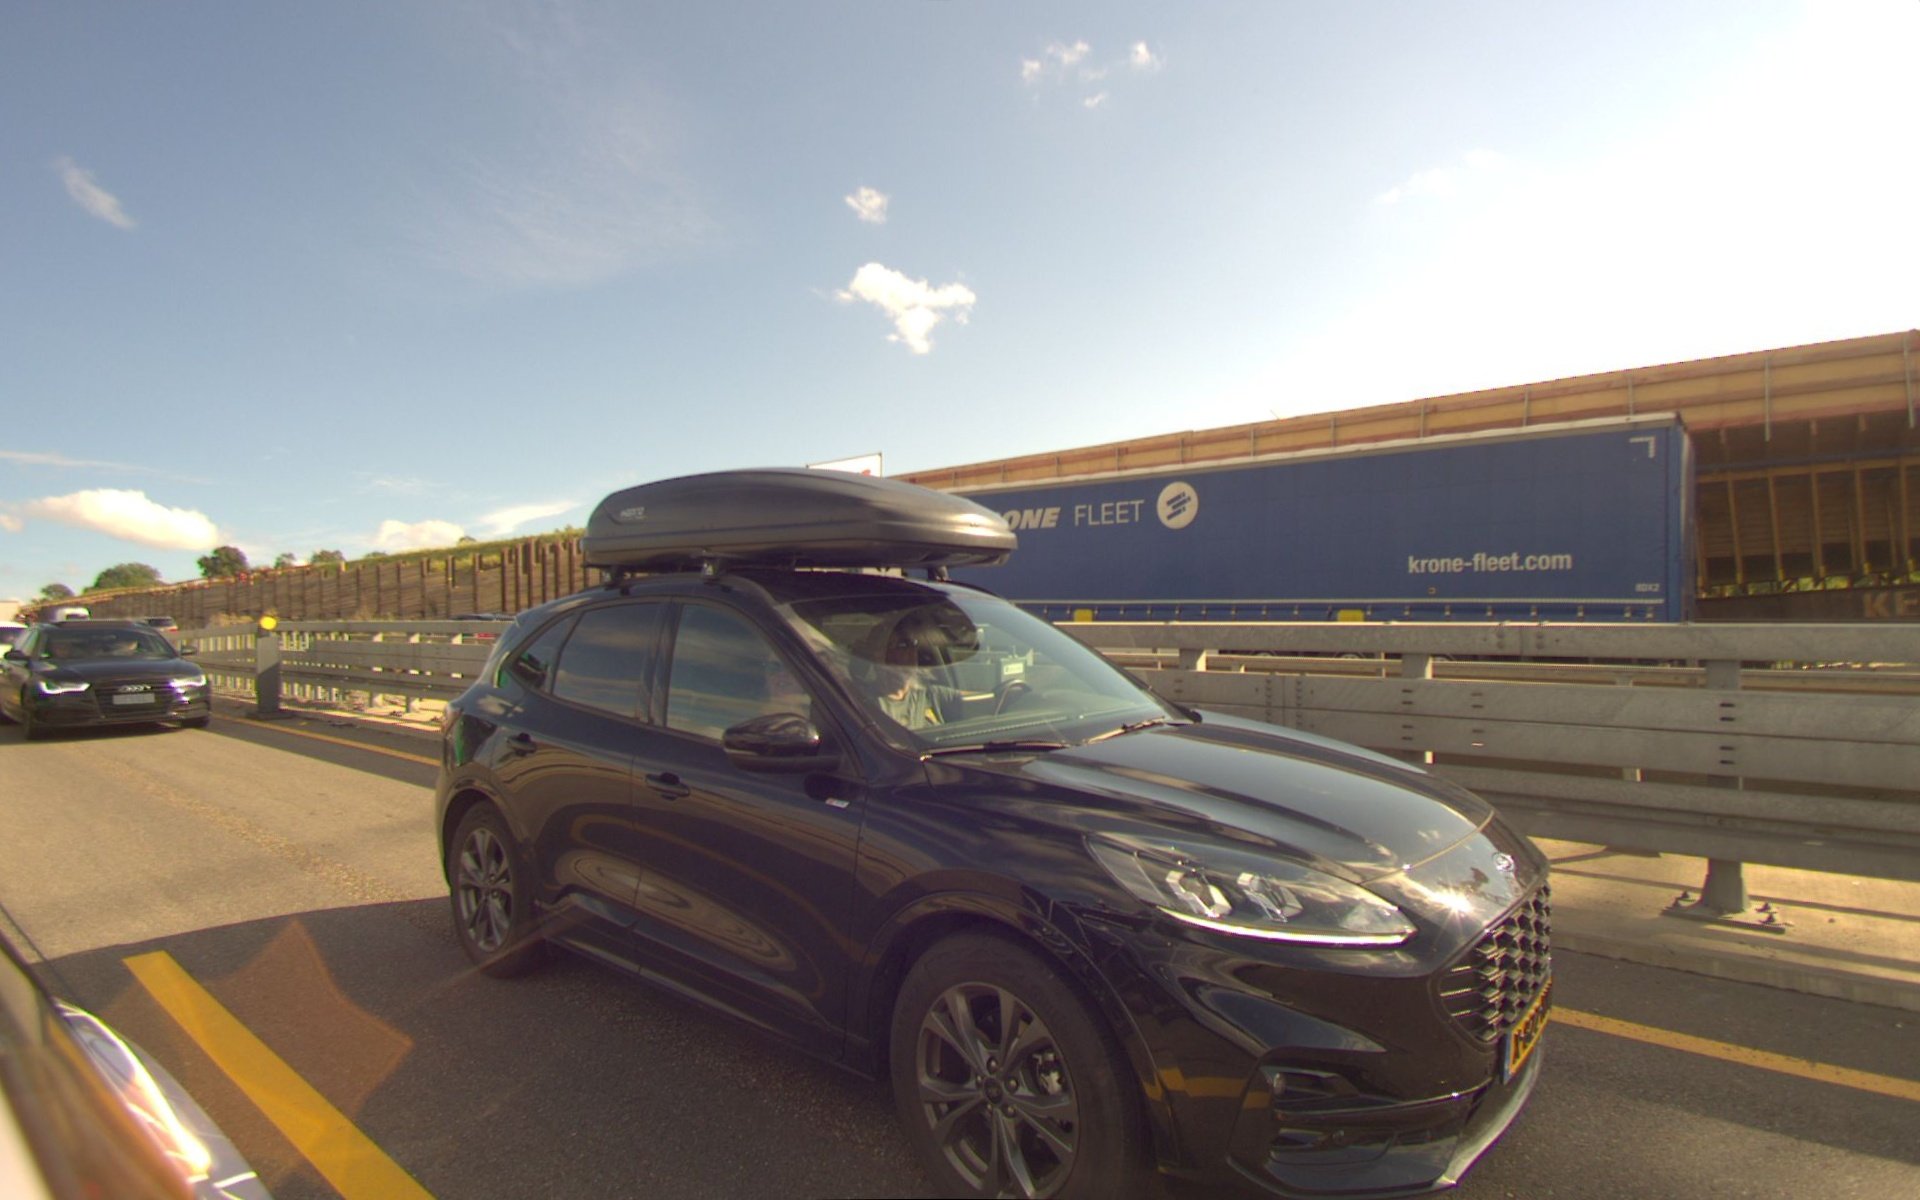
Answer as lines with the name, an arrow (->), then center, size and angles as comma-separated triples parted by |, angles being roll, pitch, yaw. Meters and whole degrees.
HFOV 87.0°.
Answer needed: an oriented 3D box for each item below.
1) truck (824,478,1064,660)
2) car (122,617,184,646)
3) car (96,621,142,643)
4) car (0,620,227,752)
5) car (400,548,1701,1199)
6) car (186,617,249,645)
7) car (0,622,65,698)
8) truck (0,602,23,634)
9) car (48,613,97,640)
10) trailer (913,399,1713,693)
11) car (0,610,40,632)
truck -> -0.426, -0.628, 23.002 | 4.808, 3.656, 2.813 | 0, 0, 41
car -> -46.078, 1.769, 57.740 | 4.405, 1.441, 1.924 | 0, 2, 40
car -> -62.783, 2.379, 75.525 | 4.405, 1.441, 1.924 | 0, 2, 40
car -> -11.745, 1.034, 13.768 | 4.503, 1.441, 1.923 | 0, -2, 42
car -> -0.158, 0.667, 3.587 | 4.382, 1.554, 1.781 | 0, 2, 41
car -> -43.044, 1.757, 58.629 | 4.405, 1.441, 1.924 | 0, 2, 40
car -> -20.174, 1.218, 20.952 | 4.406, 1.441, 1.924 | -2, 0, 41
truck -> -120.450, 2.272, 127.109 | 8.230, 3.894, 3.138 | 0, 0, 41
car -> -82.044, 2.426, 93.566 | 6.401, 2.360, 2.539 | 0, 0, 41
trailer -> 5.029, -0.658, 18.211 | 13.521, 3.694, 2.833 | 0, 0, 41
car -> -104.774, 2.335, 112.544 | 6.401, 2.360, 2.850 | 0, 0, 41
